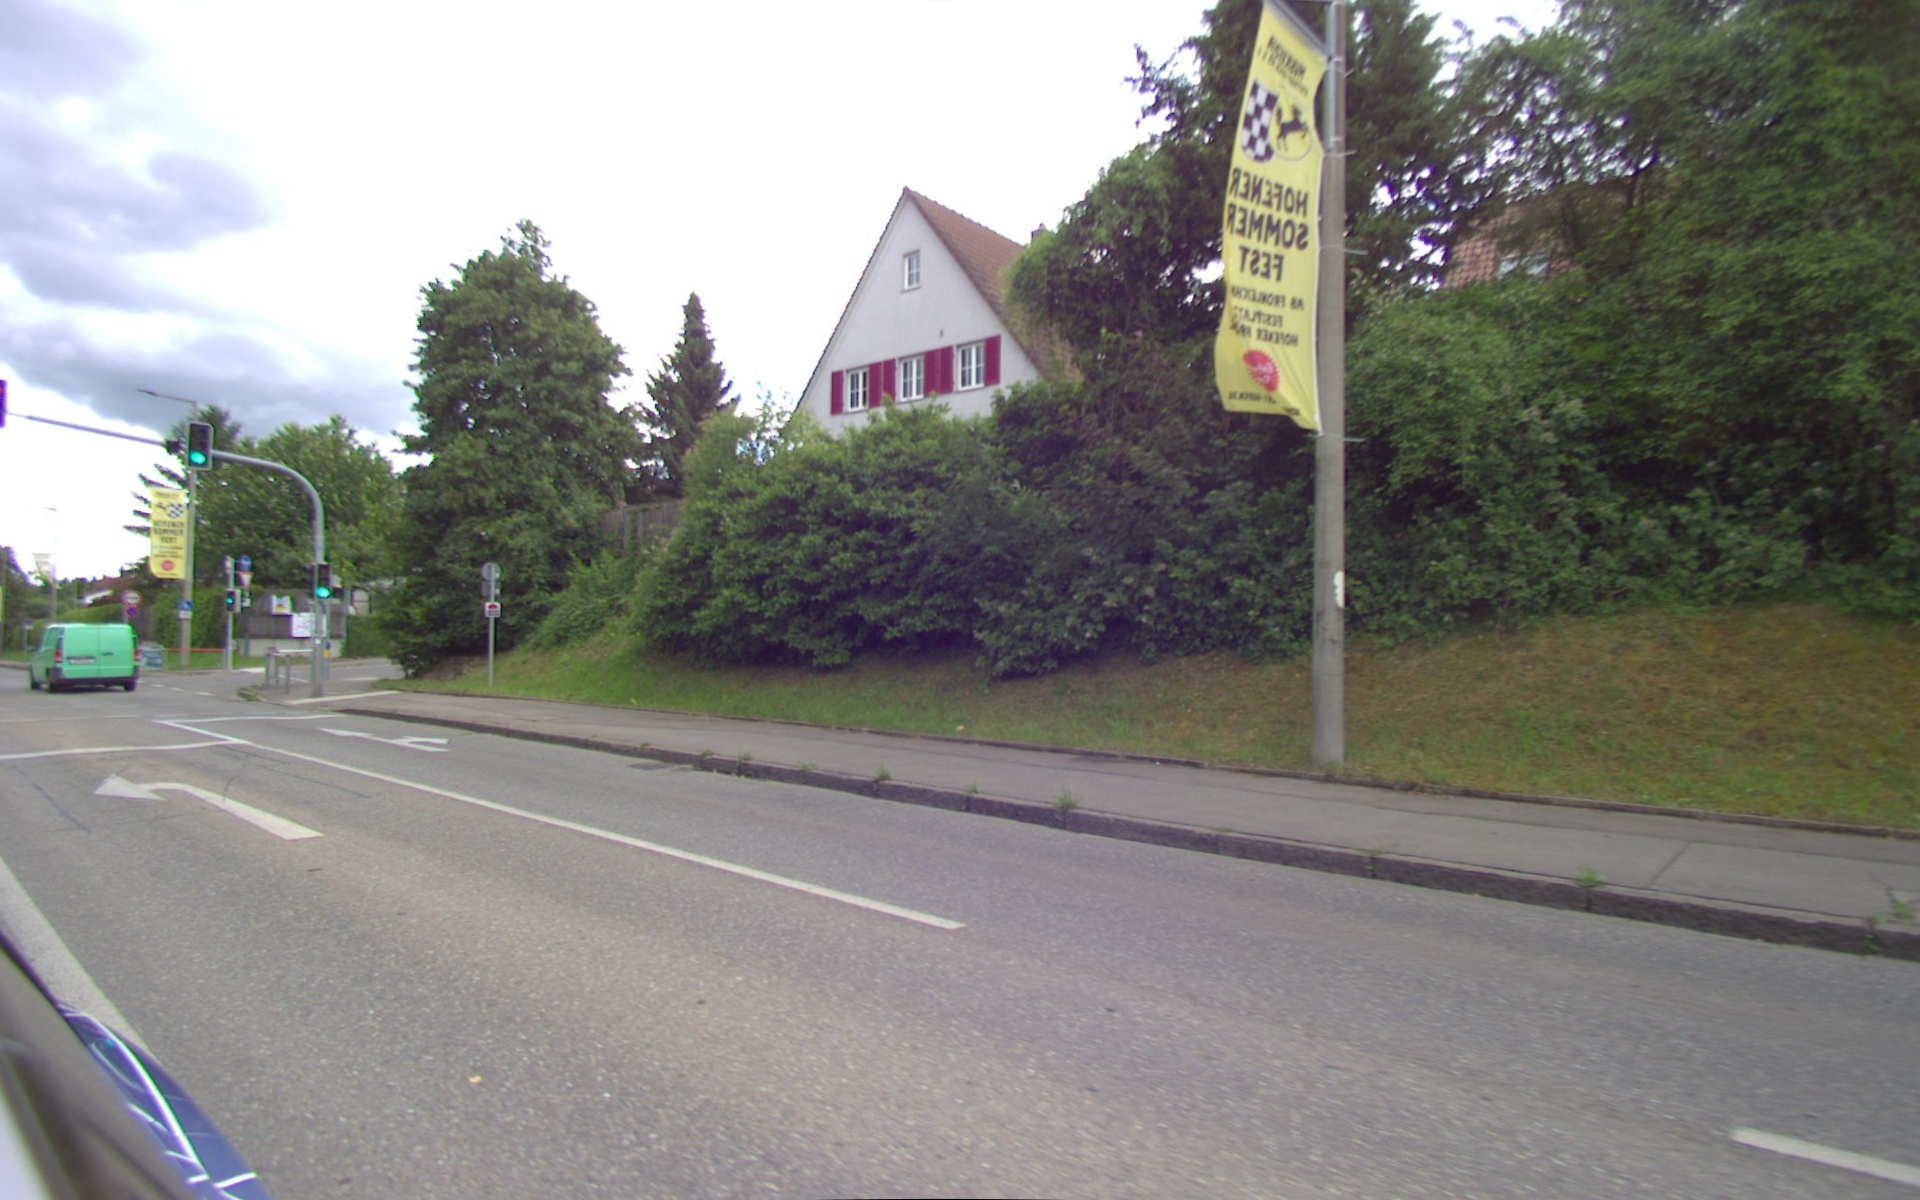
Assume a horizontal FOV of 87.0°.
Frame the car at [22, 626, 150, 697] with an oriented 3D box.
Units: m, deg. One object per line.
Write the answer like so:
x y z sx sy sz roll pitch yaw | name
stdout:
-24.579 1.689 28.408 4.727 1.824 2.037 -2 -3 41 | car
